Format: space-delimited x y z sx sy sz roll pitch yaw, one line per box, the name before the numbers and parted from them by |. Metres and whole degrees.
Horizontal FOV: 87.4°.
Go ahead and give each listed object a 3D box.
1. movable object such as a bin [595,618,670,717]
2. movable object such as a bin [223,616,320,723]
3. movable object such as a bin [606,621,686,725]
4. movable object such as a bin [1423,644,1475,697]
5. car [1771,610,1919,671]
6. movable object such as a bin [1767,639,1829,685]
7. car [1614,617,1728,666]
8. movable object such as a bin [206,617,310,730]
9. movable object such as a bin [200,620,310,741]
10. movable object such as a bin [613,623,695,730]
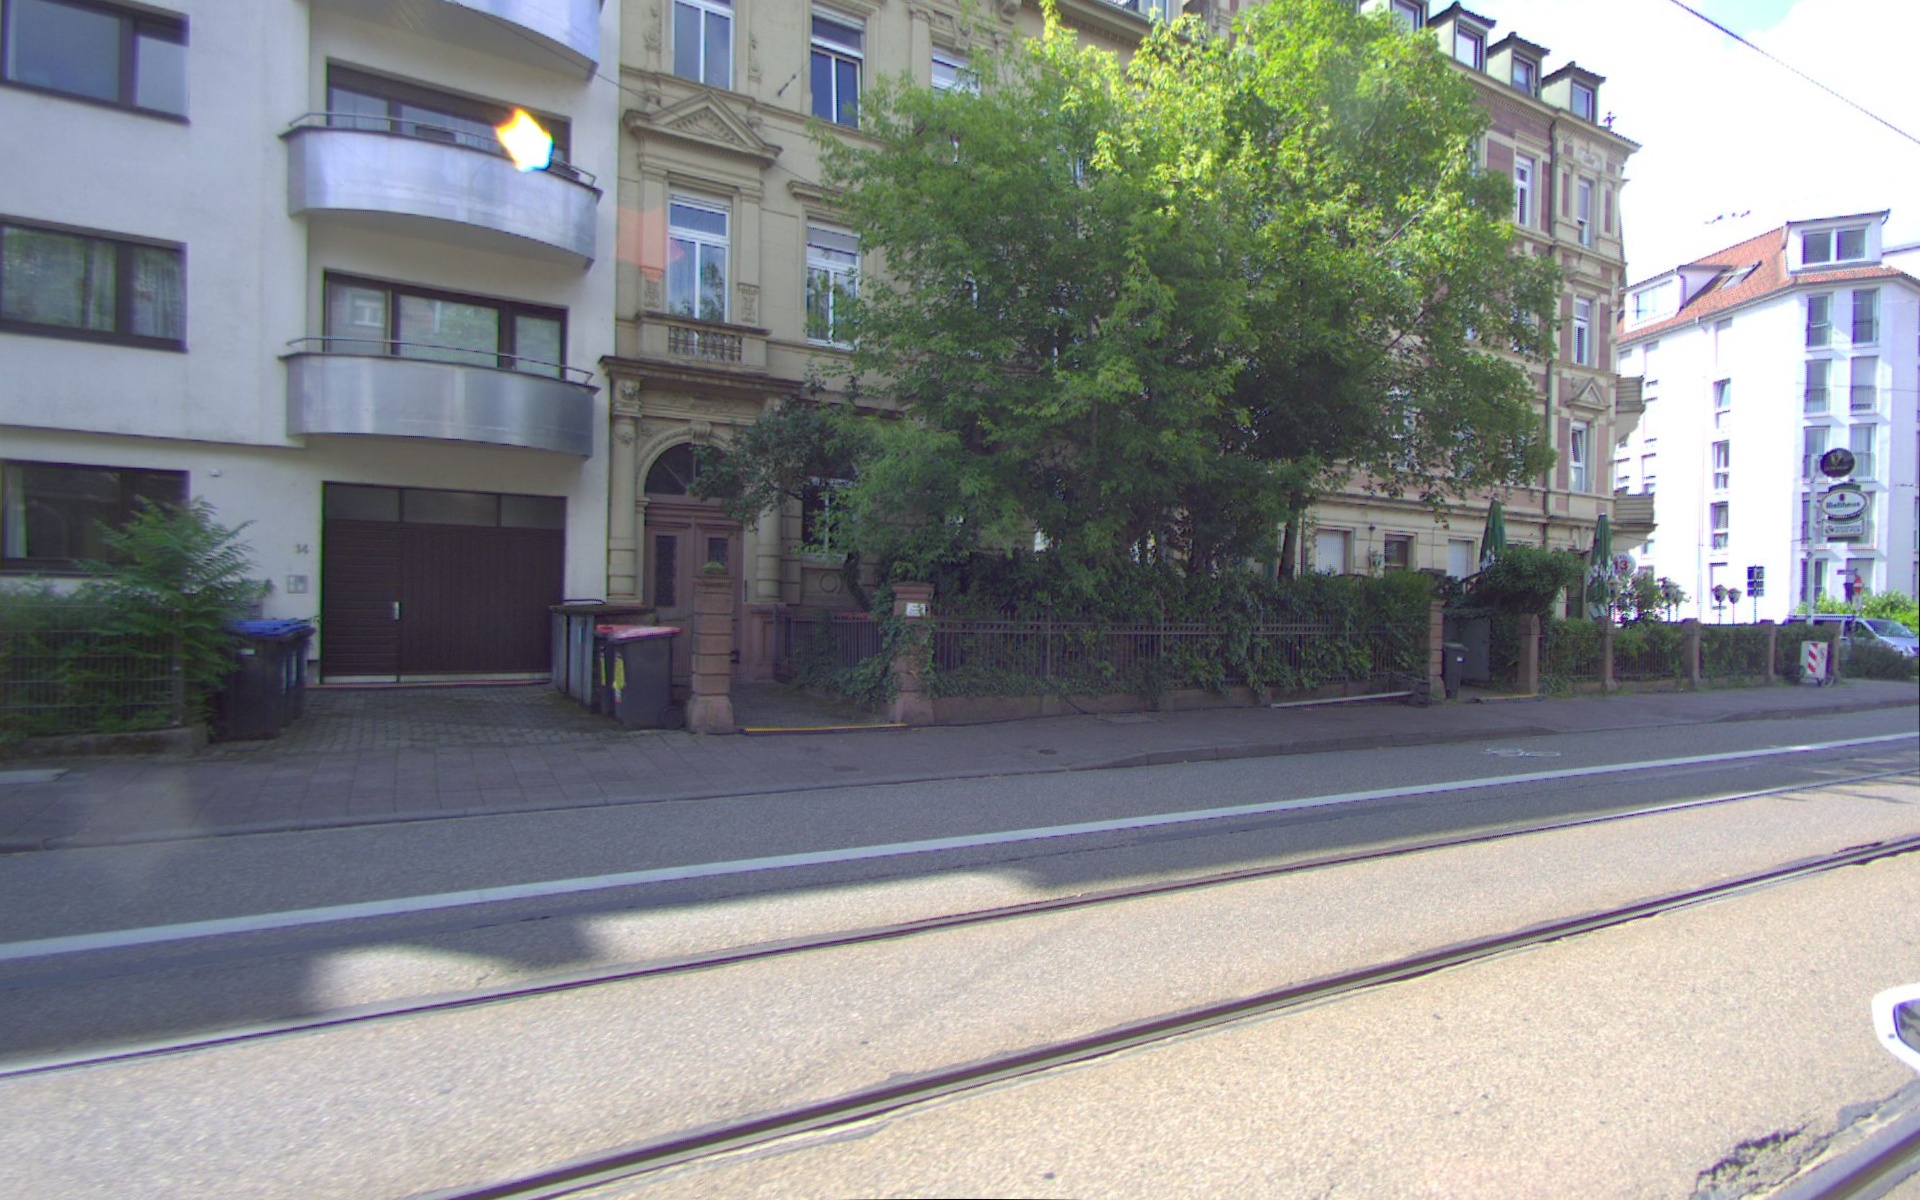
movable object such as a bin | -3.878 0.785 11.889 0.779 1.123 0.547 1 0 -25
movable object such as a bin | -7.438 0.739 10.884 0.780 1.109 0.535 2 -1 -29
movable object such as a bin | -3.569 0.809 11.407 0.779 1.123 0.547 1 0 -25
movable object such as a bin | 8.516 1.217 17.483 0.609 0.888 0.559 1 0 -30
car | 32.363 1.404 36.269 2.008 2.040 4.672 1 0 -7
movable object such as a bin | 19.611 1.432 23.509 1.101 1.001 0.741 1 2 -30
car | 24.370 1.417 34.450 3.128 1.588 1.391 1 0 -11
movable object such as a bin | -7.163 0.740 10.287 0.780 1.109 0.535 2 -1 -29
movable object such as a bin | -6.807 0.765 9.730 0.780 1.109 0.535 2 -1 -29
movable object such as a bin | -3.321 0.815 10.895 0.779 1.109 0.536 1 0 -25
